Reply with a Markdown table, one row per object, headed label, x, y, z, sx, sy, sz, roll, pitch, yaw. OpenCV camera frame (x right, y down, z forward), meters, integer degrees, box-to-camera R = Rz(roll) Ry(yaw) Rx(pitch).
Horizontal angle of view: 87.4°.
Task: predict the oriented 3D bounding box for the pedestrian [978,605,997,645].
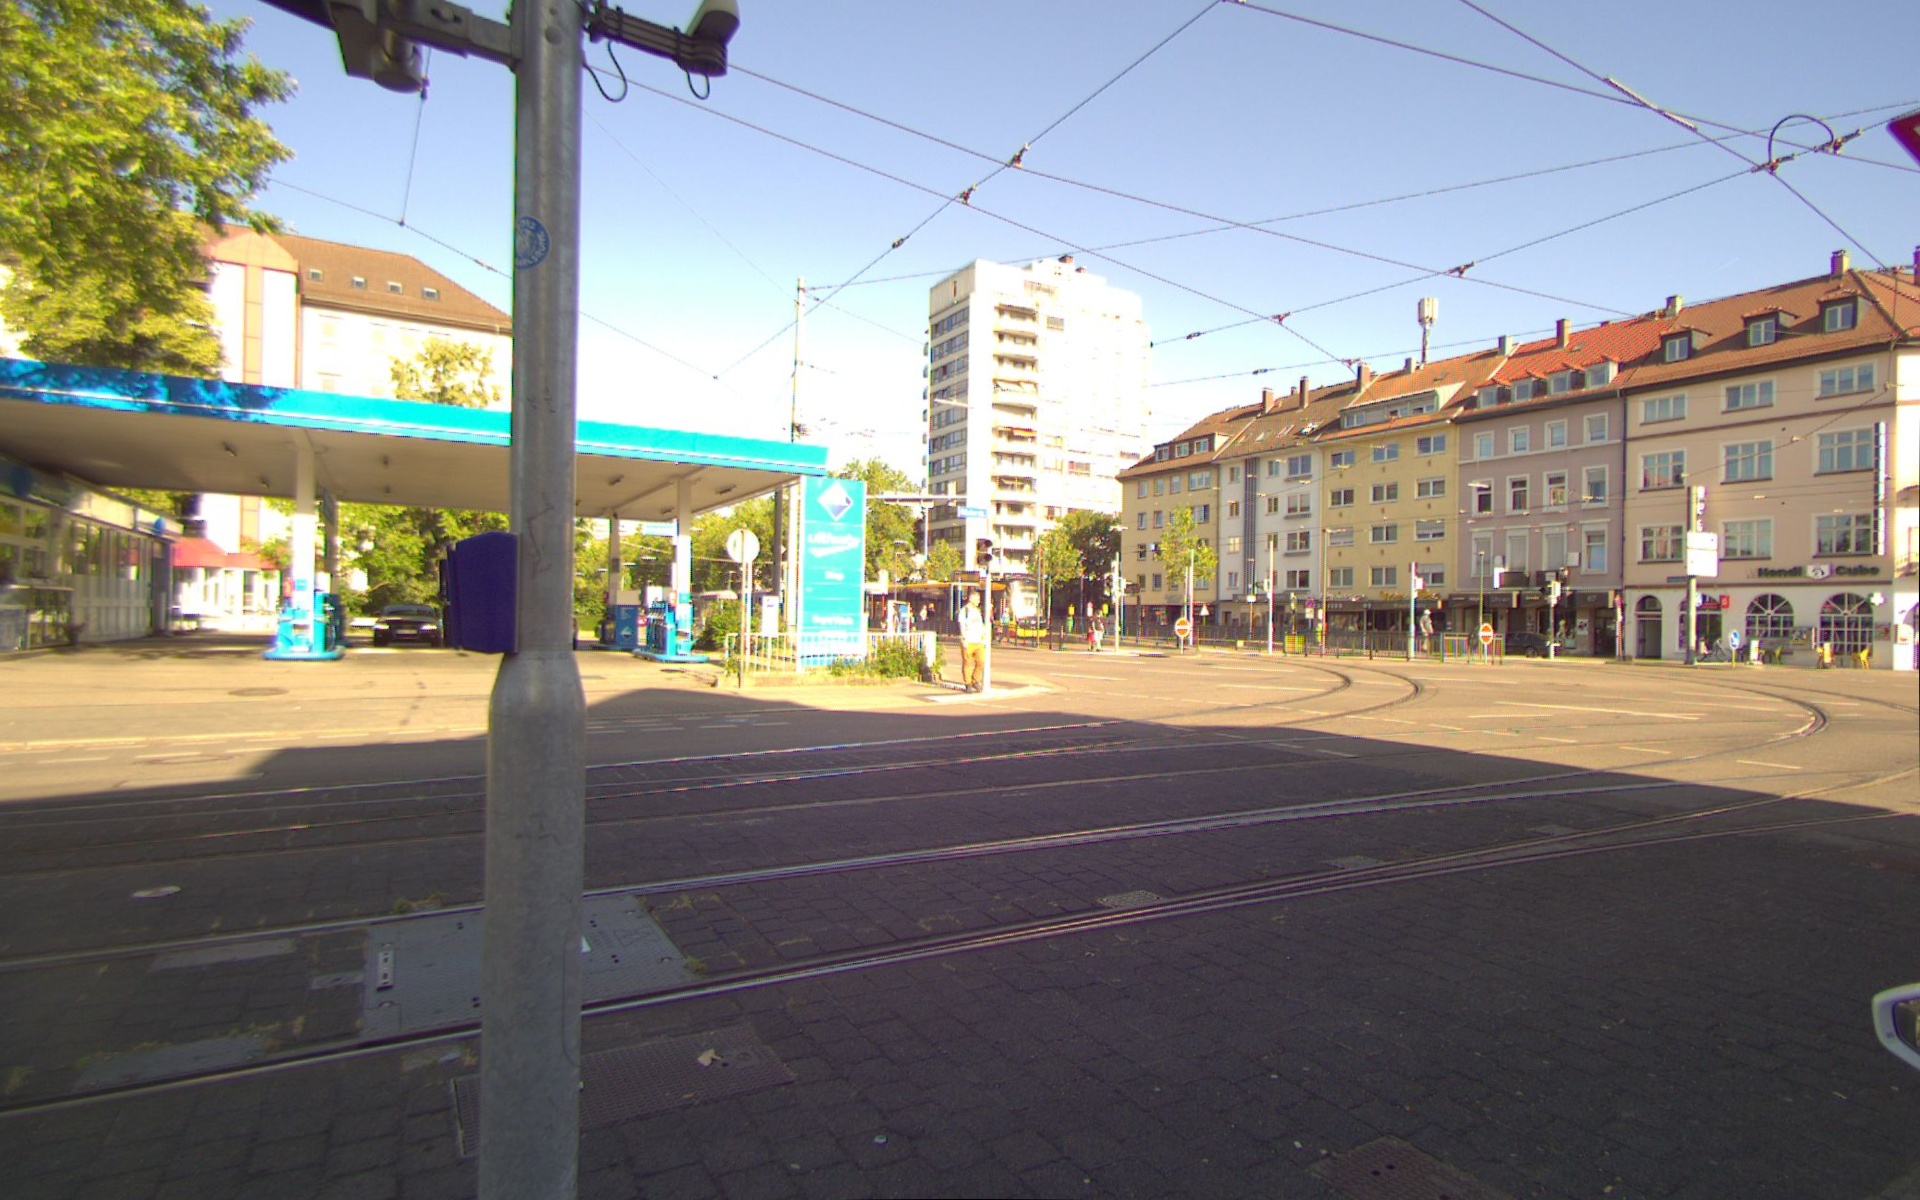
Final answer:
| label | x | y | z | sx | sy | sz | roll | pitch | yaw |
| --- | --- | --- | --- | --- | --- | --- | --- | --- | --- |
| pedestrian | 1.352 | 1.239 | 49.400 | 0.666 | 1.913 | 0.520 | 2 | 0 | -31 |

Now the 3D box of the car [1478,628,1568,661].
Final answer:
| label | x | y | z | sx | sy | sz | roll | pitch | yaw |
| --- | --- | --- | --- | --- | --- | --- | --- | --- | --- |
| car | 30.853 | 2.424 | 55.135 | 1.970 | 1.692 | 3.981 | 1 | -1 | -21 |

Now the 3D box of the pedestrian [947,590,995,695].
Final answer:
| label | x | y | z | sx | sy | sz | roll | pitch | yaw |
| --- | --- | --- | --- | --- | --- | --- | --- | --- | --- |
| pedestrian | 0.216 | 0.771 | 18.665 | 0.778 | 1.893 | 0.674 | 2 | 0 | 6 |

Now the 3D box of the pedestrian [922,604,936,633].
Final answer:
| label | x | y | z | sx | sy | sz | roll | pitch | yaw |
| --- | --- | --- | --- | --- | --- | --- | --- | --- | --- |
| pedestrian | -1.796 | 1.074 | 57.628 | 0.580 | 1.613 | 0.520 | 2 | 0 | -31 |

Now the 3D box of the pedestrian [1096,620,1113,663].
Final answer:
| label | x | y | z | sx | sy | sz | roll | pitch | yaw |
| --- | --- | --- | --- | --- | --- | --- | --- | --- | --- |
| pedestrian | 5.836 | 1.679 | 40.555 | 0.575 | 1.686 | 0.525 | 2 | 0 | 15 |

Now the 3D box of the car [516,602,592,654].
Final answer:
| label | x | y | z | sx | sy | sz | roll | pitch | yaw |
| --- | --- | --- | --- | --- | --- | --- | --- | --- | --- |
| car | -12.168 | 0.806 | 30.029 | 1.764 | 1.411 | 3.455 | 2 | 0 | -28 |

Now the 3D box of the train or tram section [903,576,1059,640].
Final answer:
| label | x | y | z | sx | sy | sz | roll | pitch | yaw |
| --- | --- | --- | --- | --- | --- | --- | --- | --- | --- |
| train or tram section | 0.851 | 0.362 | 57.598 | 2.751 | 3.273 | 12.286 | 2 | 0 | -31 |

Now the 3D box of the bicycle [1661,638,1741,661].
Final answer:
| label | x | y | z | sx | sy | sz | roll | pitch | yaw |
| --- | --- | --- | --- | --- | --- | --- | --- | --- | --- |
| bicycle | 37.497 | 2.498 | 50.890 | 0.989 | 0.993 | 3.115 | 2 | 0 | -29 |

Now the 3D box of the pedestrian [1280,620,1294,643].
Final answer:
| label | x | y | z | sx | sy | sz | roll | pitch | yaw |
| --- | --- | --- | --- | --- | --- | --- | --- | --- | --- |
| pedestrian | 24.148 | 2.342 | 74.149 | 0.693 | 1.656 | 0.629 | 2 | 0 | -33 |

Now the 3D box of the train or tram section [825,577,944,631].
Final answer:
| label | x | y | z | sx | sy | sz | roll | pitch | yaw |
| --- | --- | --- | --- | --- | --- | --- | --- | --- | --- |
| train or tram section | -5.382 | 0.211 | 68.044 | 2.751 | 3.273 | 12.286 | 2 | 0 | -31 |

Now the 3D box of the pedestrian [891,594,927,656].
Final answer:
| label | x | y | z | sx | sy | sz | roll | pitch | yaw |
| --- | --- | --- | --- | --- | --- | --- | --- | --- | --- |
| pedestrian | -1.390 | 0.689 | 27.378 | 0.675 | 1.656 | 0.694 | 2 | 0 | -35 |

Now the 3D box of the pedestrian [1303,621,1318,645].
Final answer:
| label | x | y | z | sx | sy | sz | roll | pitch | yaw |
| --- | --- | --- | --- | --- | --- | --- | --- | --- | --- |
| pedestrian | 24.618 | 2.338 | 70.576 | 0.693 | 1.656 | 0.629 | 2 | 0 | -33 |

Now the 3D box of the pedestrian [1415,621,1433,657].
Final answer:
| label | x | y | z | sx | sy | sz | roll | pitch | yaw |
| --- | --- | --- | --- | --- | --- | --- | --- | --- | --- |
| pedestrian | 21.719 | 1.807 | 47.042 | 0.570 | 1.649 | 0.522 | 2 | 0 | -31 |

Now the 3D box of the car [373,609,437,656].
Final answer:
| label | x | y | z | sx | sy | sz | roll | pitch | yaw |
| --- | --- | --- | --- | --- | --- | --- | --- | --- | --- |
| car | -17.329 | 0.979 | 31.373 | 1.646 | 1.316 | 3.453 | 2 | 0 | -30 |

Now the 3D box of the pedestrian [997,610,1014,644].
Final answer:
| label | x | y | z | sx | sy | sz | roll | pitch | yaw |
| --- | --- | --- | --- | --- | --- | --- | --- | --- | --- |
| pedestrian | 2.165 | 1.304 | 48.221 | 0.580 | 1.613 | 0.520 | 2 | 0 | -31 |

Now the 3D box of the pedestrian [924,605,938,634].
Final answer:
| label | x | y | z | sx | sy | sz | roll | pitch | yaw |
| --- | --- | --- | --- | --- | --- | --- | --- | --- | --- |
| pedestrian | -1.639 | 1.071 | 56.105 | 0.580 | 1.613 | 0.520 | 2 | 0 | -31 |
